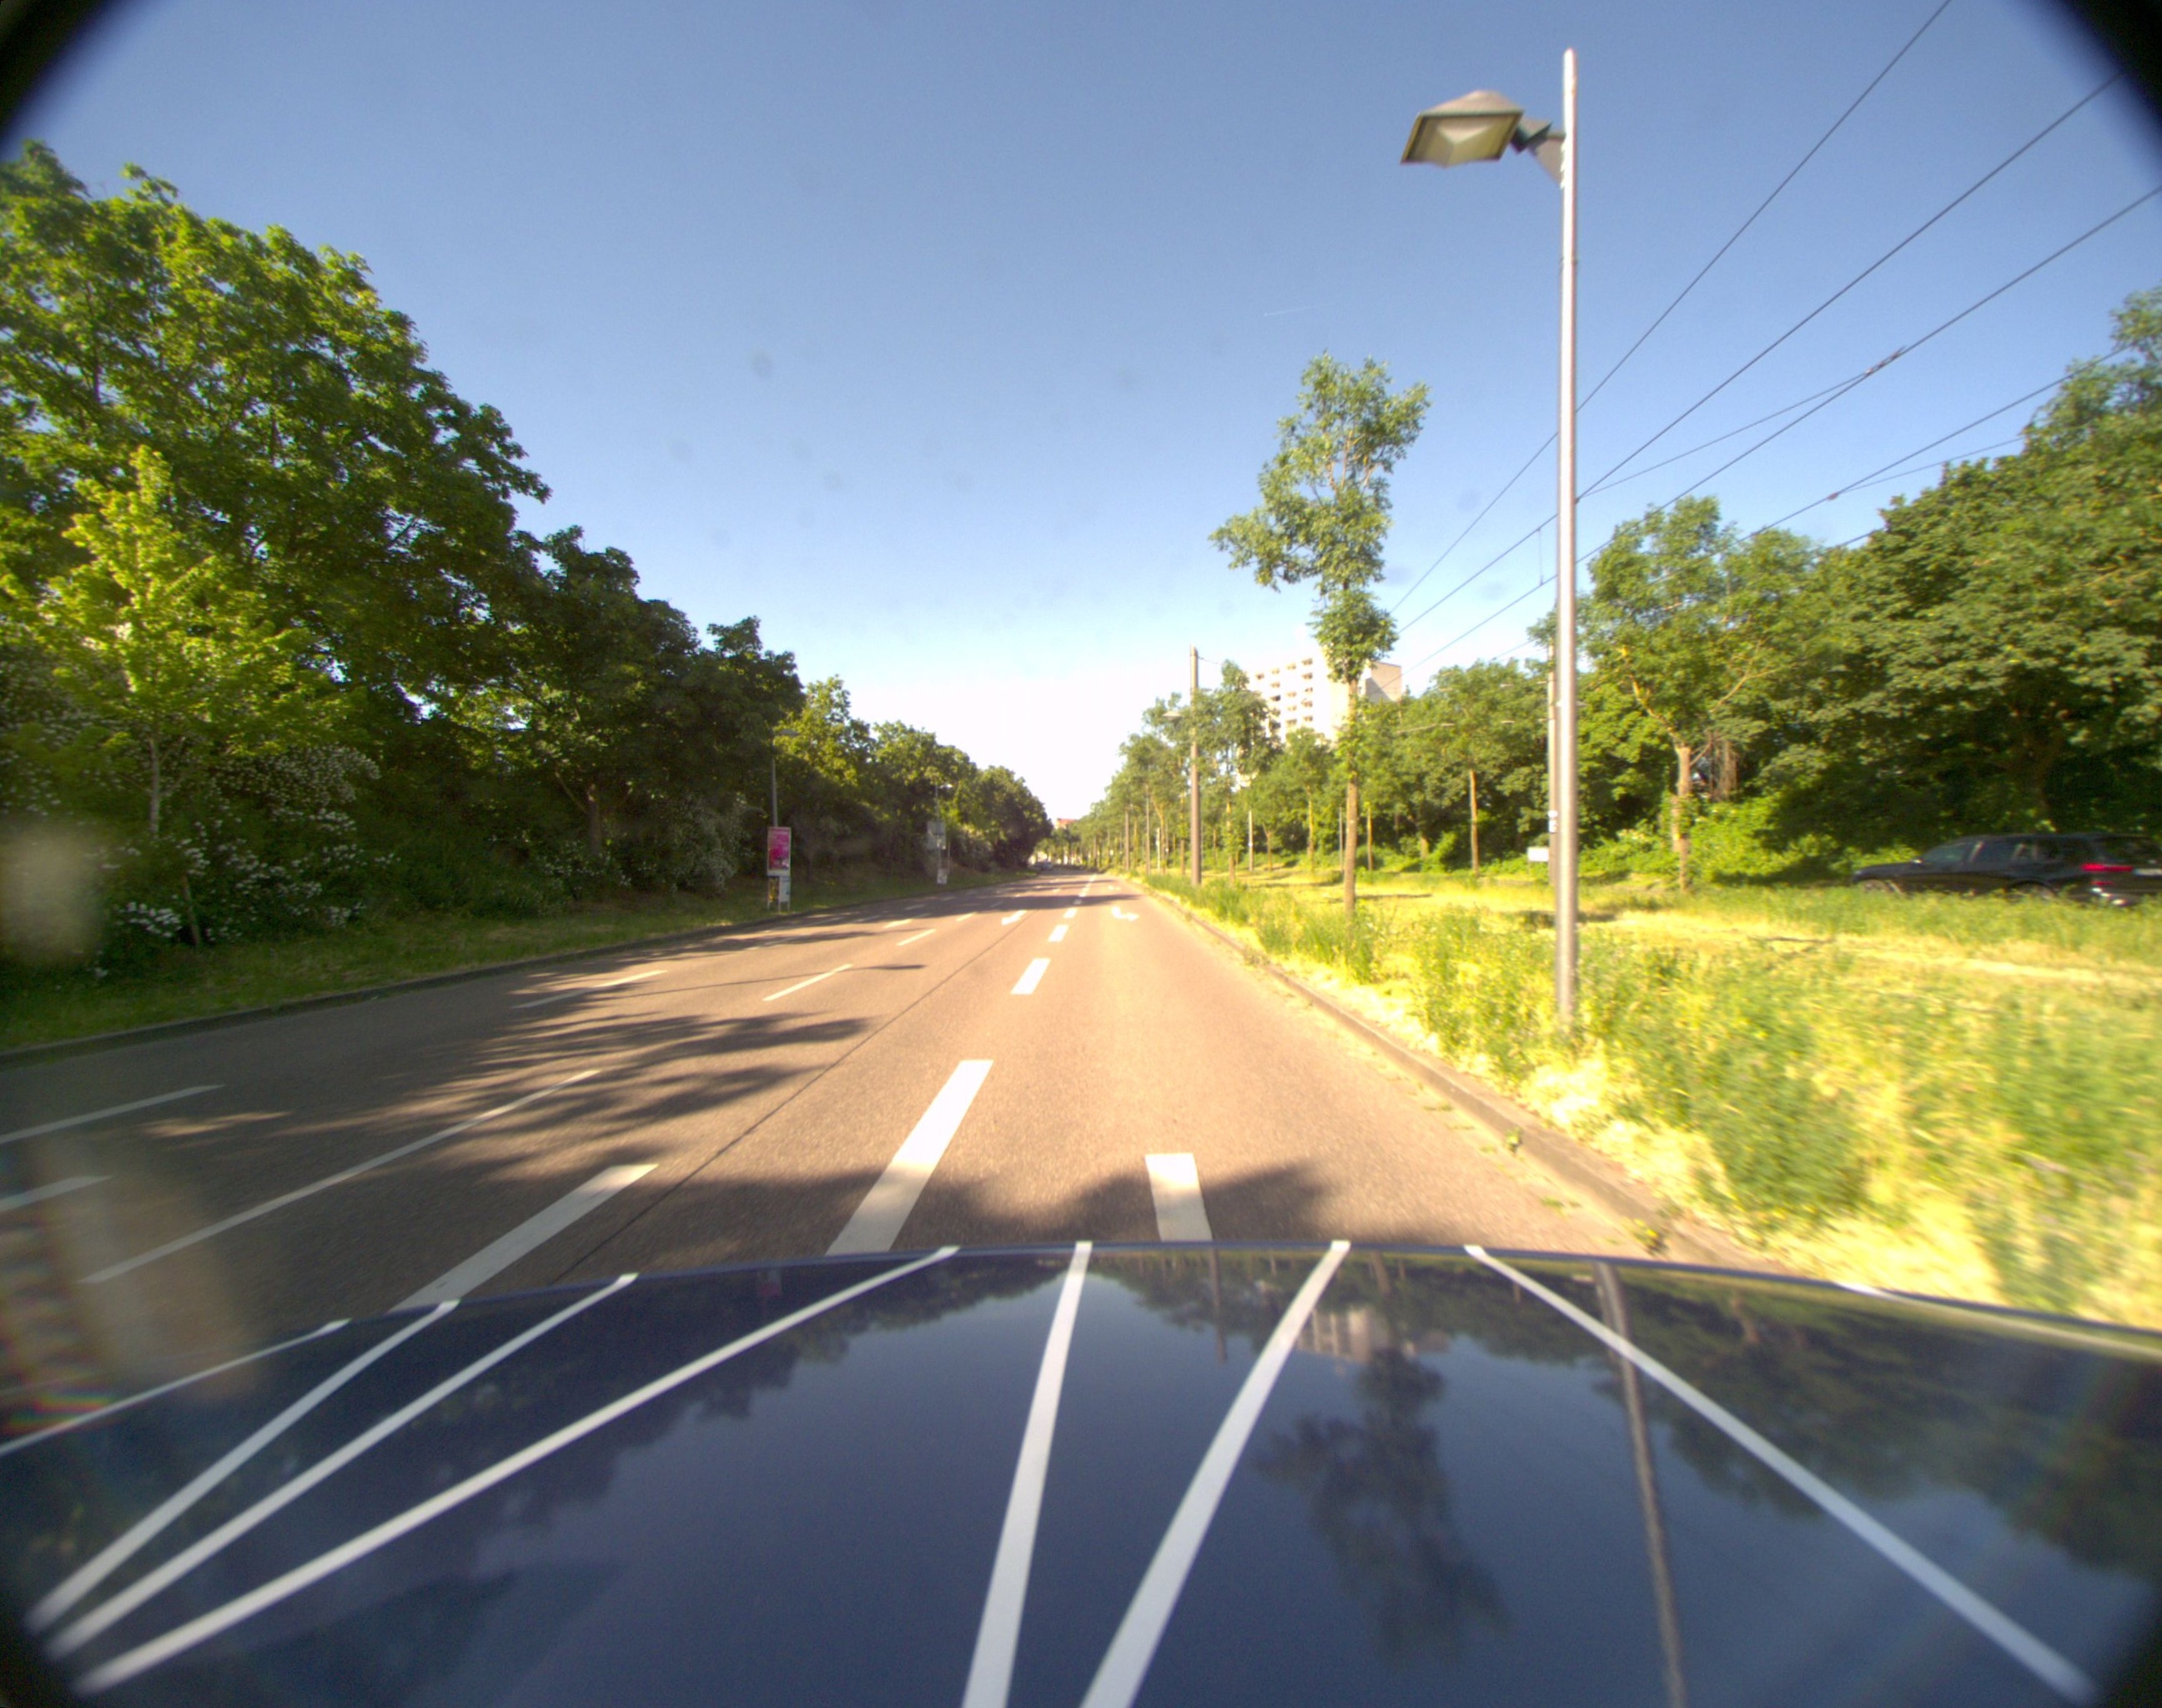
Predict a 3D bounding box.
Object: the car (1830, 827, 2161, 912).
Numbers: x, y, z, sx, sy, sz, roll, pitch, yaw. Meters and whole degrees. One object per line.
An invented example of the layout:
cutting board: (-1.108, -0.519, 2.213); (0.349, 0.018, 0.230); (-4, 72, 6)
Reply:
car: (20.384, 0.274, 17.049); (1.998, 1.575, 5.273); (-2, 0, 2)

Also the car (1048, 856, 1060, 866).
car: (-4.624, 1.191, 129.714); (1.672, 1.531, 4.061); (-4, 0, 2)
